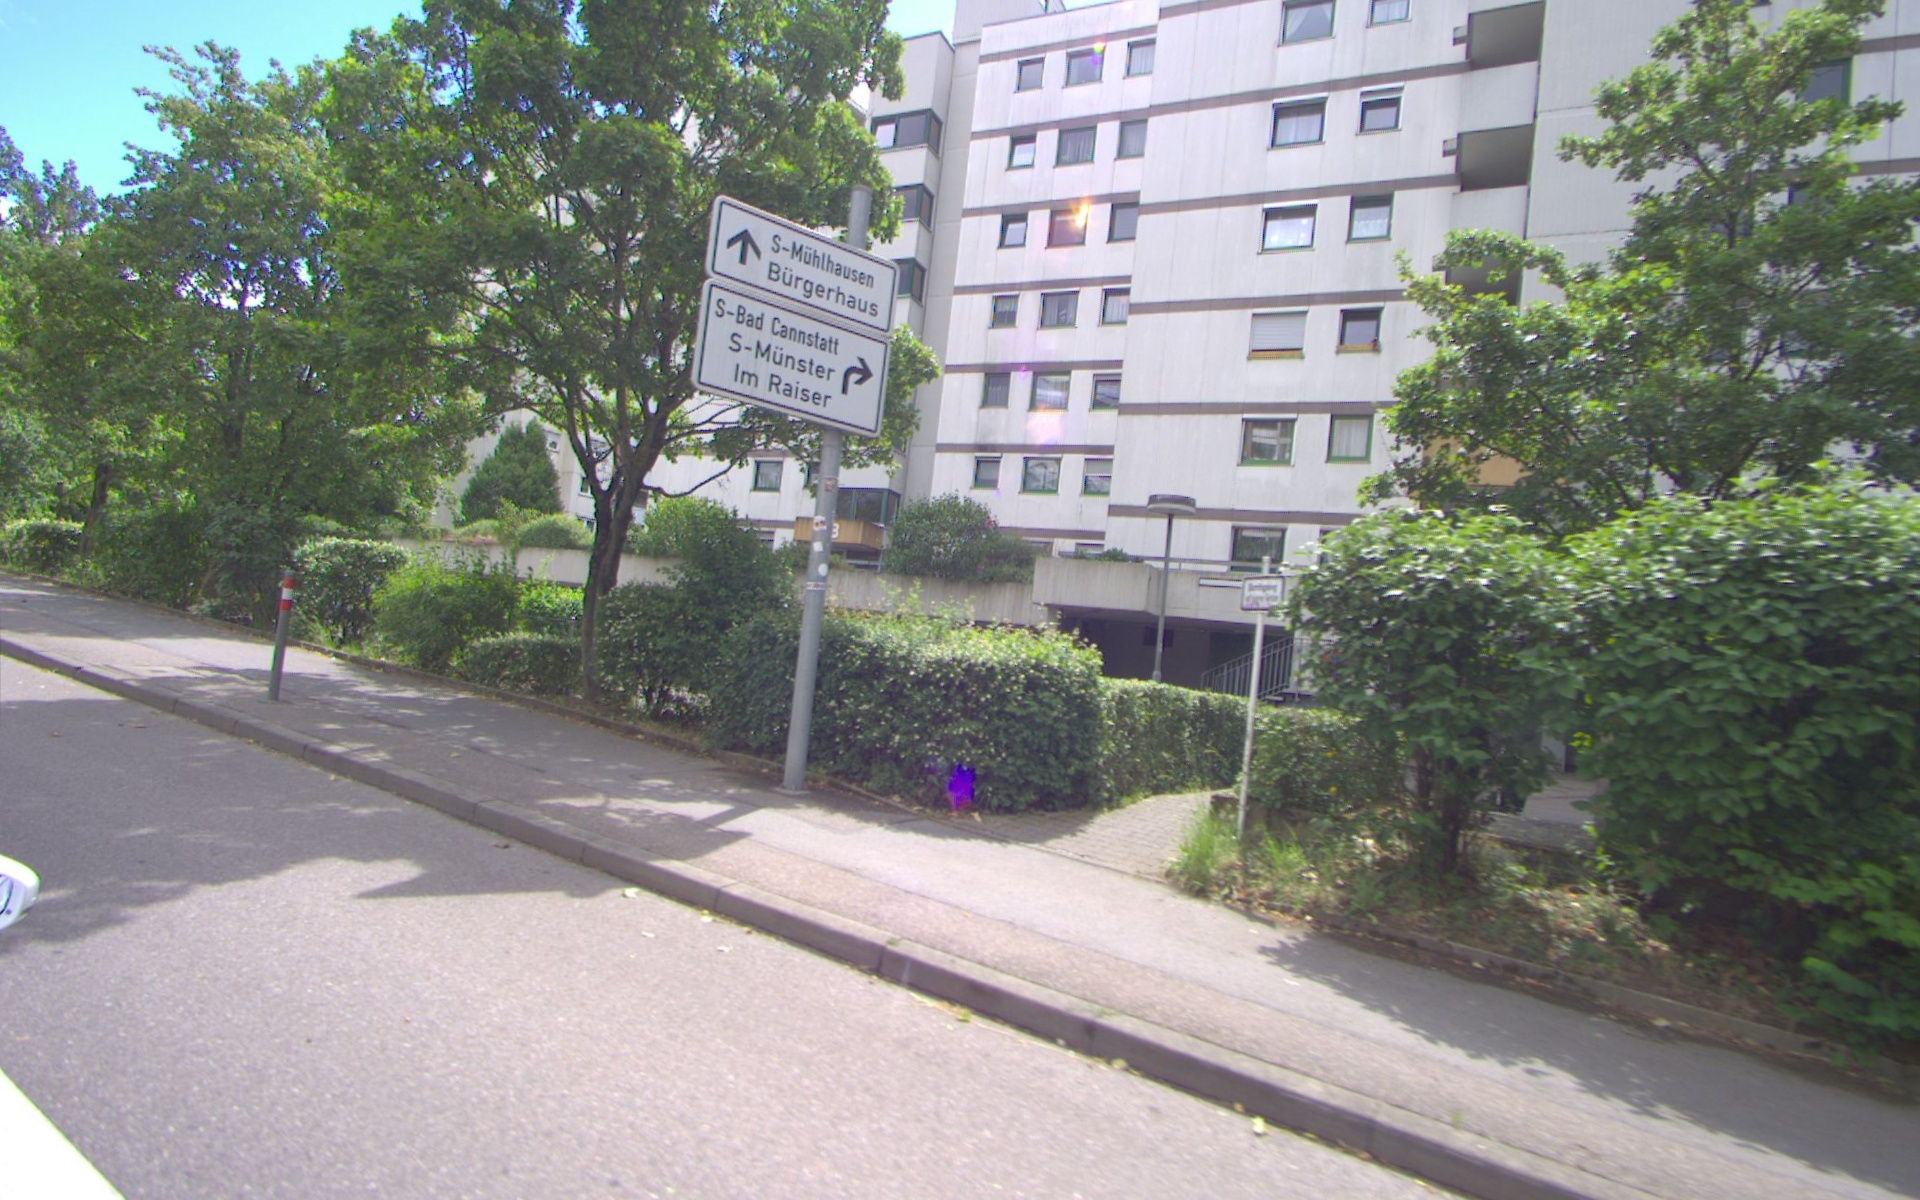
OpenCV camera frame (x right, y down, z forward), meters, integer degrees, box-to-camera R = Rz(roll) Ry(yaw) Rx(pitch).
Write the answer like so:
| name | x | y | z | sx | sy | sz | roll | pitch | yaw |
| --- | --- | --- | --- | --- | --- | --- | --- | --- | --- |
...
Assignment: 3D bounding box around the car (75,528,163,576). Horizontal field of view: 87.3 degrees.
| name | x | y | z | sx | sy | sz | roll | pitch | yaw |
| --- | --- | --- | --- | --- | --- | --- | --- | --- | --- |
| car | -39.085 | -2.240 | 46.739 | 3.933 | 1.636 | 1.829 | 7 | -3 | 31 |
